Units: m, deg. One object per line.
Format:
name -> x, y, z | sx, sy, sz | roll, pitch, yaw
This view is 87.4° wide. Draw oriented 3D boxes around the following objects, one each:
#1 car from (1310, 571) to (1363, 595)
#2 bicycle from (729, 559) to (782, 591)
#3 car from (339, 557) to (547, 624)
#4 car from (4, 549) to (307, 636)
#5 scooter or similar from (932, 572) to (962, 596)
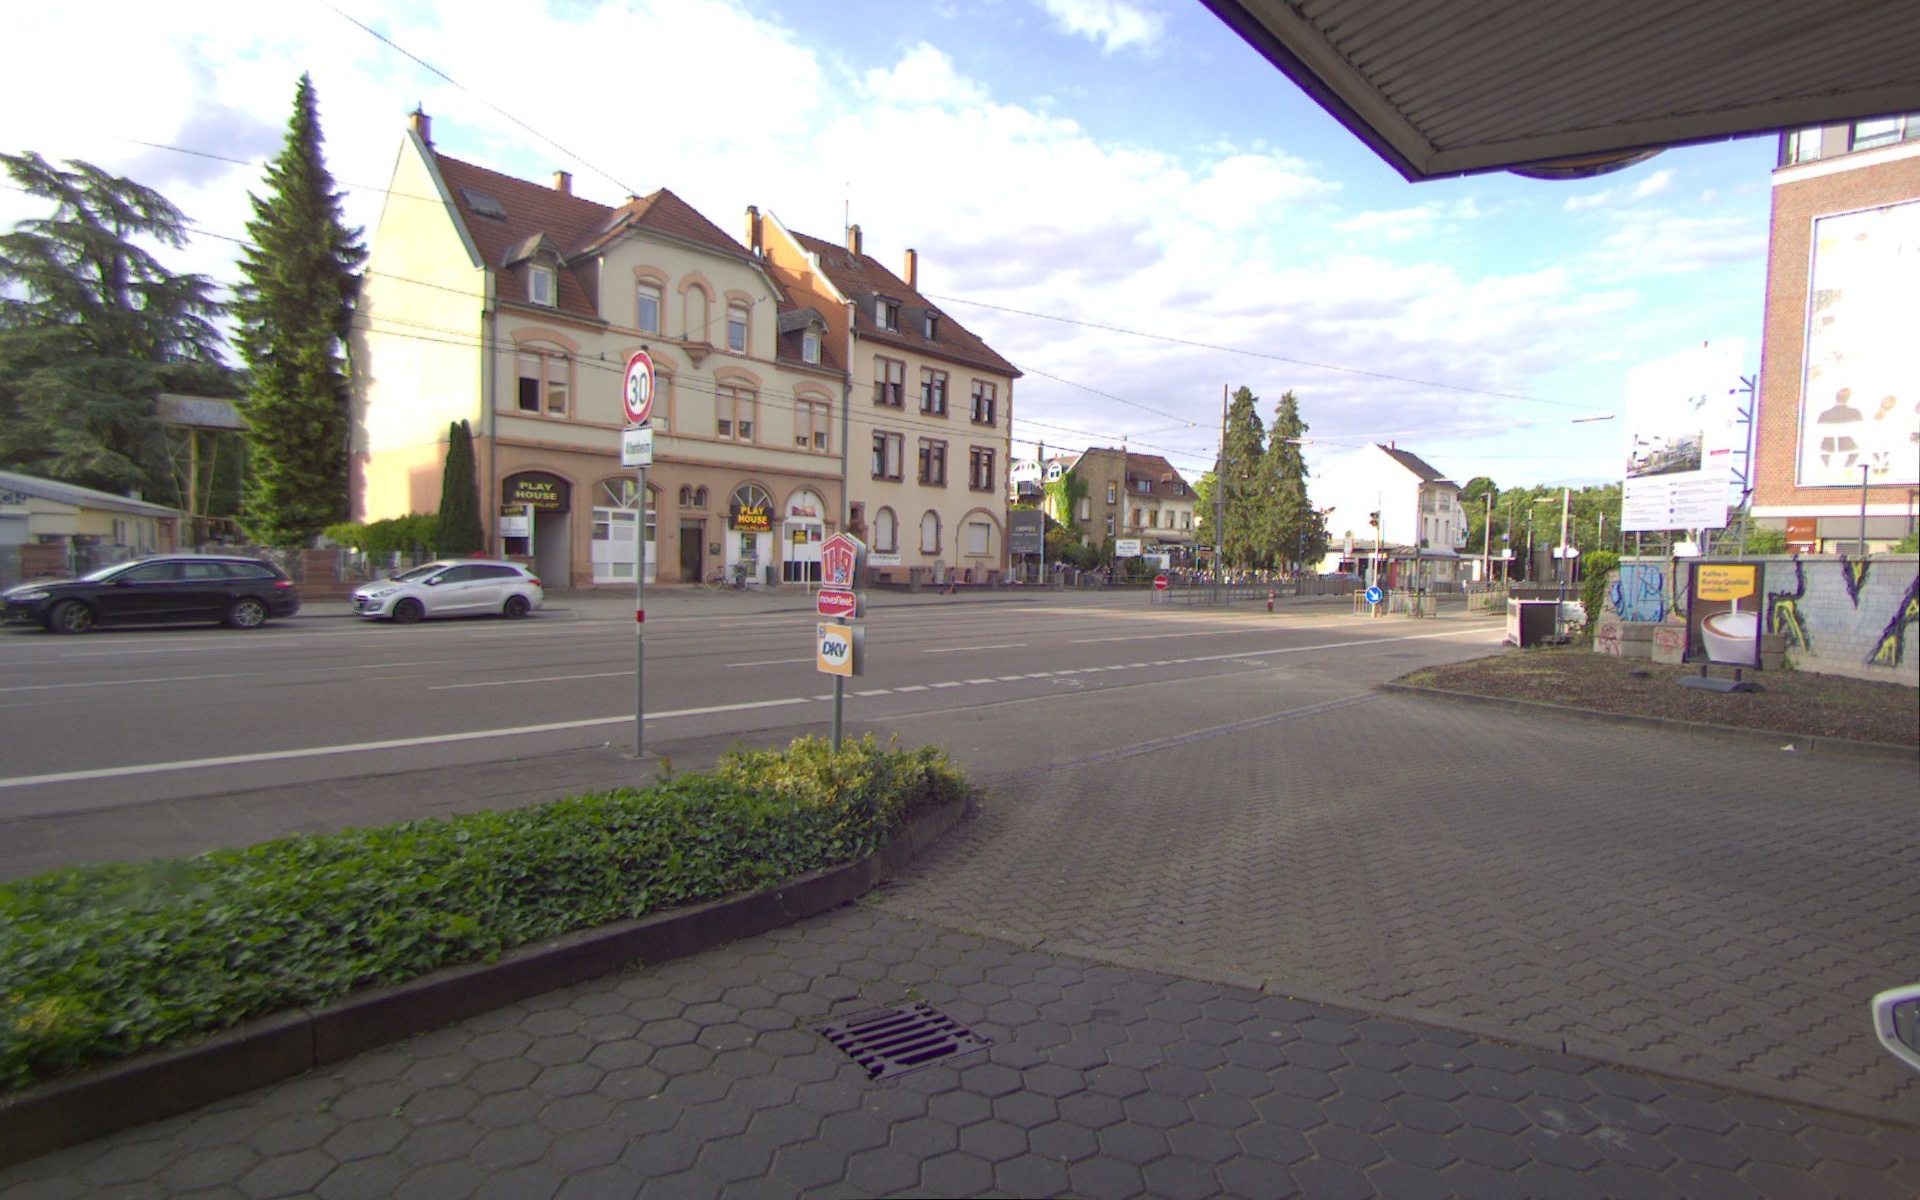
car -> 24.204, -1.105, 64.475 | 1.836, 1.489, 4.116 | 3, 3, 41
bicycle -> -8.256, -1.003, 40.624 | 0.741, 1.219, 2.011 | 8, 5, 41
car -> -12.937, -0.252, 25.353 | 1.718, 1.502, 4.357 | 3, 2, 41
car -> -16.495, -0.176, 20.814 | 1.827, 1.542, 4.642 | 5, 4, 40
scooter or similar -> -0.575, -0.715, 45.090 | 0.437, 1.006, 1.460 | 6, 5, 41
